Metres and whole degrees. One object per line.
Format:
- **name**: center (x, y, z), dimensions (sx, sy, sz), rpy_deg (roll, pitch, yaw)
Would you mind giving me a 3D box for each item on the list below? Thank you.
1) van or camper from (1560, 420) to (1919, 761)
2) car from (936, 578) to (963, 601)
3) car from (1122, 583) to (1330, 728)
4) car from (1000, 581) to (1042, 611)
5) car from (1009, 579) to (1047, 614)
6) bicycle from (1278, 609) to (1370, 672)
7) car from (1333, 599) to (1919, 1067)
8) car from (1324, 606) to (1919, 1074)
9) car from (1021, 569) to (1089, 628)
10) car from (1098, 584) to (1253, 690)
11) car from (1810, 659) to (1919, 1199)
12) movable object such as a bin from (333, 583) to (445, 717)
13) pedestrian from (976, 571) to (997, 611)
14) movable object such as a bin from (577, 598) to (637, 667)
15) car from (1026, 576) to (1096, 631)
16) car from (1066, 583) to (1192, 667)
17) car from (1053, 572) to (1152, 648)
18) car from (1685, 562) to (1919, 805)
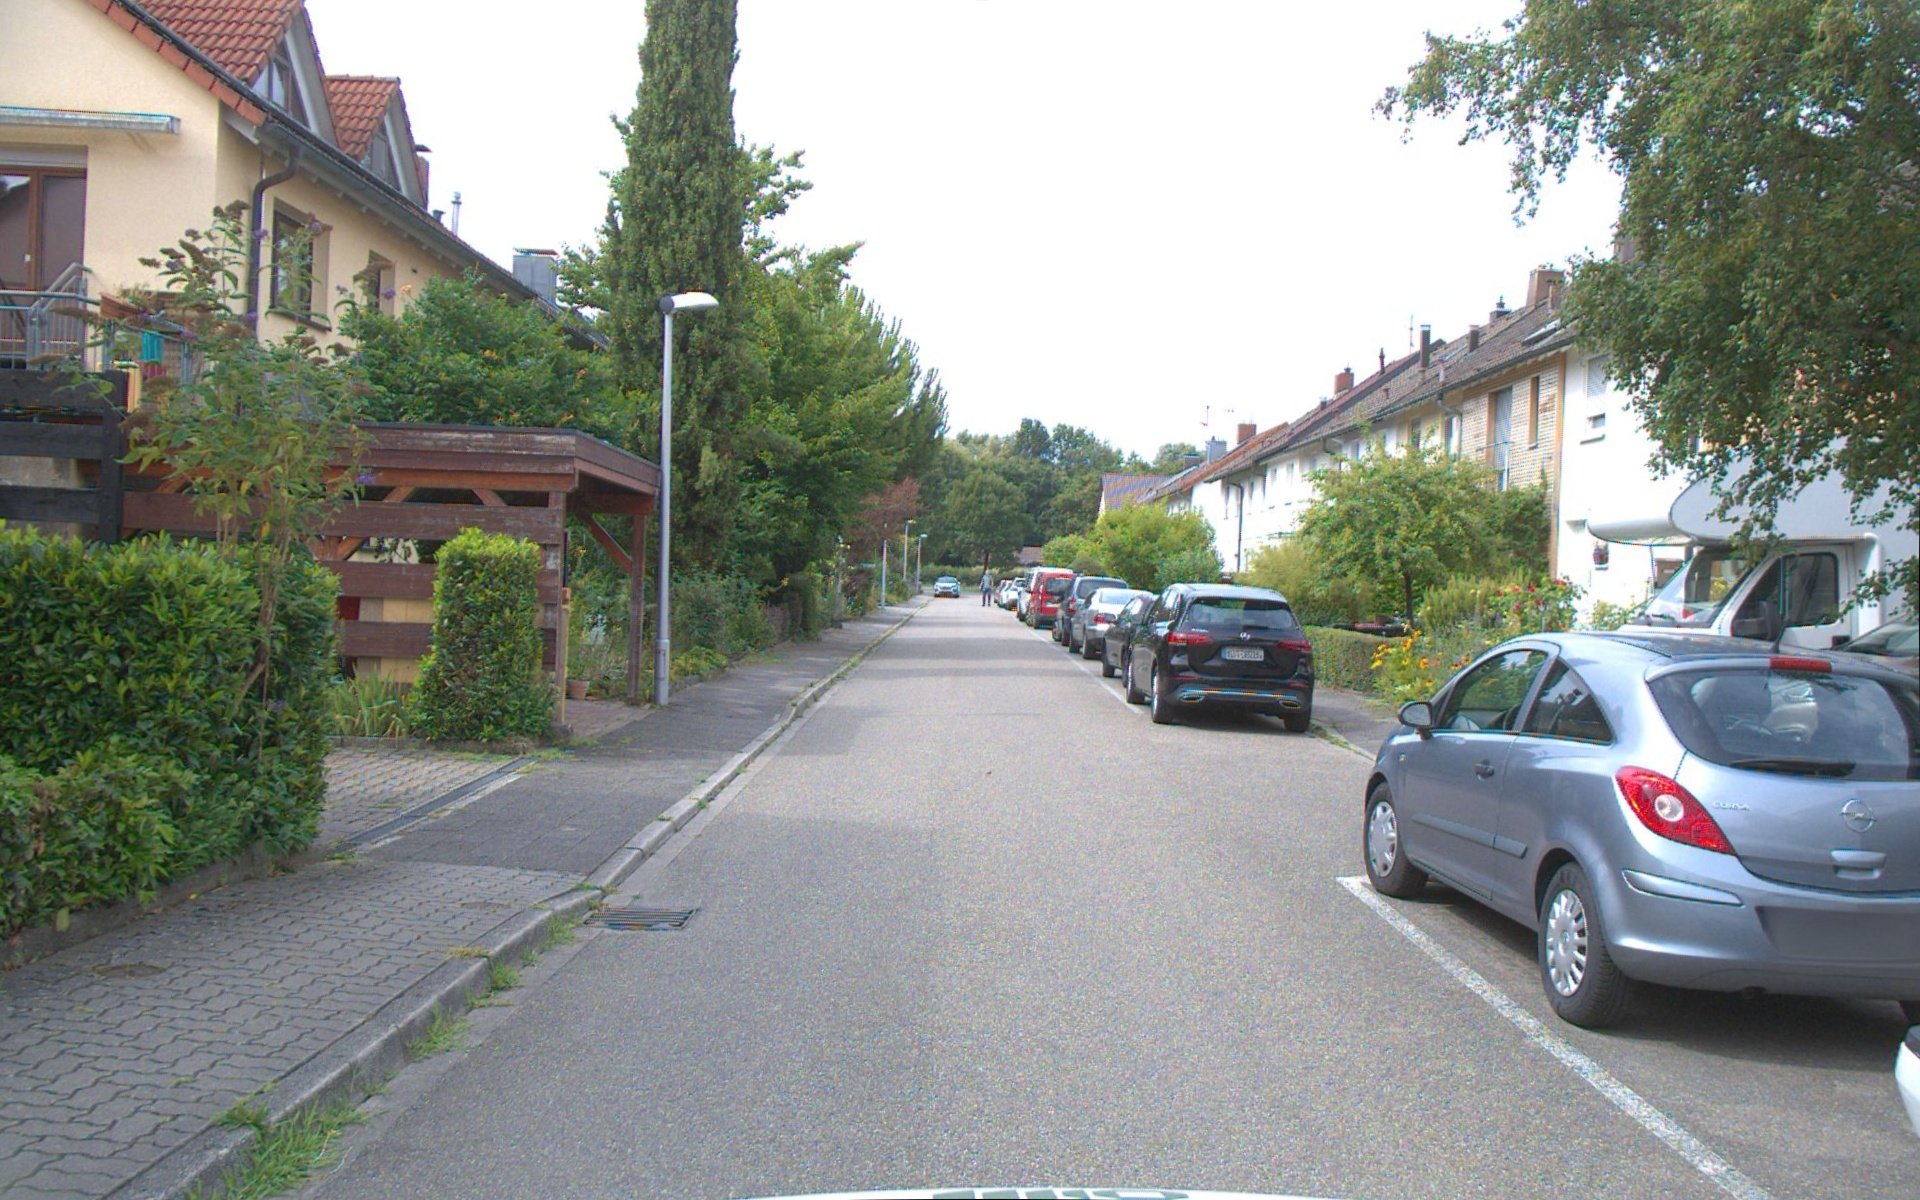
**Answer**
- **van or camper**: center (8.845, -0.069, 15.289), dimensions (5.677, 2.867, 2.538), rpy_deg (1, 1, 4)
- **car**: center (-0.774, -0.799, 123.661), dimensions (1.894, 1.583, 4.635), rpy_deg (1, 1, 1)
- **car**: center (3.086, 0.572, 20.067), dimensions (1.713, 1.492, 4.648), rpy_deg (2, 1, 0)
- **car**: center (3.152, -0.225, 86.406), dimensions (1.801, 1.437, 4.635), rpy_deg (1, 1, -3)
- **car**: center (3.218, -0.196, 78.771), dimensions (1.678, 1.570, 3.974), rpy_deg (2, 1, 0)
- **bicycle**: center (6.380, 0.708, 29.022), dimensions (1.506, 1.041, 0.376), rpy_deg (2, 1, 5)
- **car**: center (3.092, 0.802, 7.740), dimensions (1.706, 1.496, 4.217), rpy_deg (2, 1, 0)
- **car**: center (3.101, 0.847, 7.746), dimensions (1.669, 1.467, 4.219), rpy_deg (3, 1, -2)
- **car**: center (3.345, -0.090, 59.200), dimensions (1.980, 1.981, 4.746), rpy_deg (1, 1, -2)
- **car**: center (3.257, 0.513, 25.725), dimensions (1.698, 1.453, 4.124), rpy_deg (2, 1, -2)
- **car**: center (3.181, 0.913, 2.152), dimensions (1.659, 1.388, 4.698), rpy_deg (2, 1, -1)
- **movable object such as a bin**: center (-5.066, 0.425, 14.721), dimensions (0.689, 1.150, 0.877), rpy_deg (1, 1, 0)
- **pedestrian**: center (1.391, -0.470, 87.301), dimensions (0.895, 2.049, 0.949), rpy_deg (1, 1, -10)
- **movable object such as a bin**: center (-5.167, 0.473, 24.263), dimensions (0.697, 0.973, 0.751), rpy_deg (1, 1, 0)
- **car**: center (3.260, 0.084, 54.201), dimensions (1.774, 1.679, 4.408), rpy_deg (1, 1, -3)
- **car**: center (3.350, 0.448, 33.592), dimensions (1.830, 1.431, 4.766), rpy_deg (3, 1, -2)
- **car**: center (3.376, 0.194, 40.031), dimensions (1.830, 1.682, 4.463), rpy_deg (2, 1, -2)
- **car**: center (8.316, 0.658, 12.910), dimensions (4.437, 1.737, 1.900), rpy_deg (2, 1, 3)
